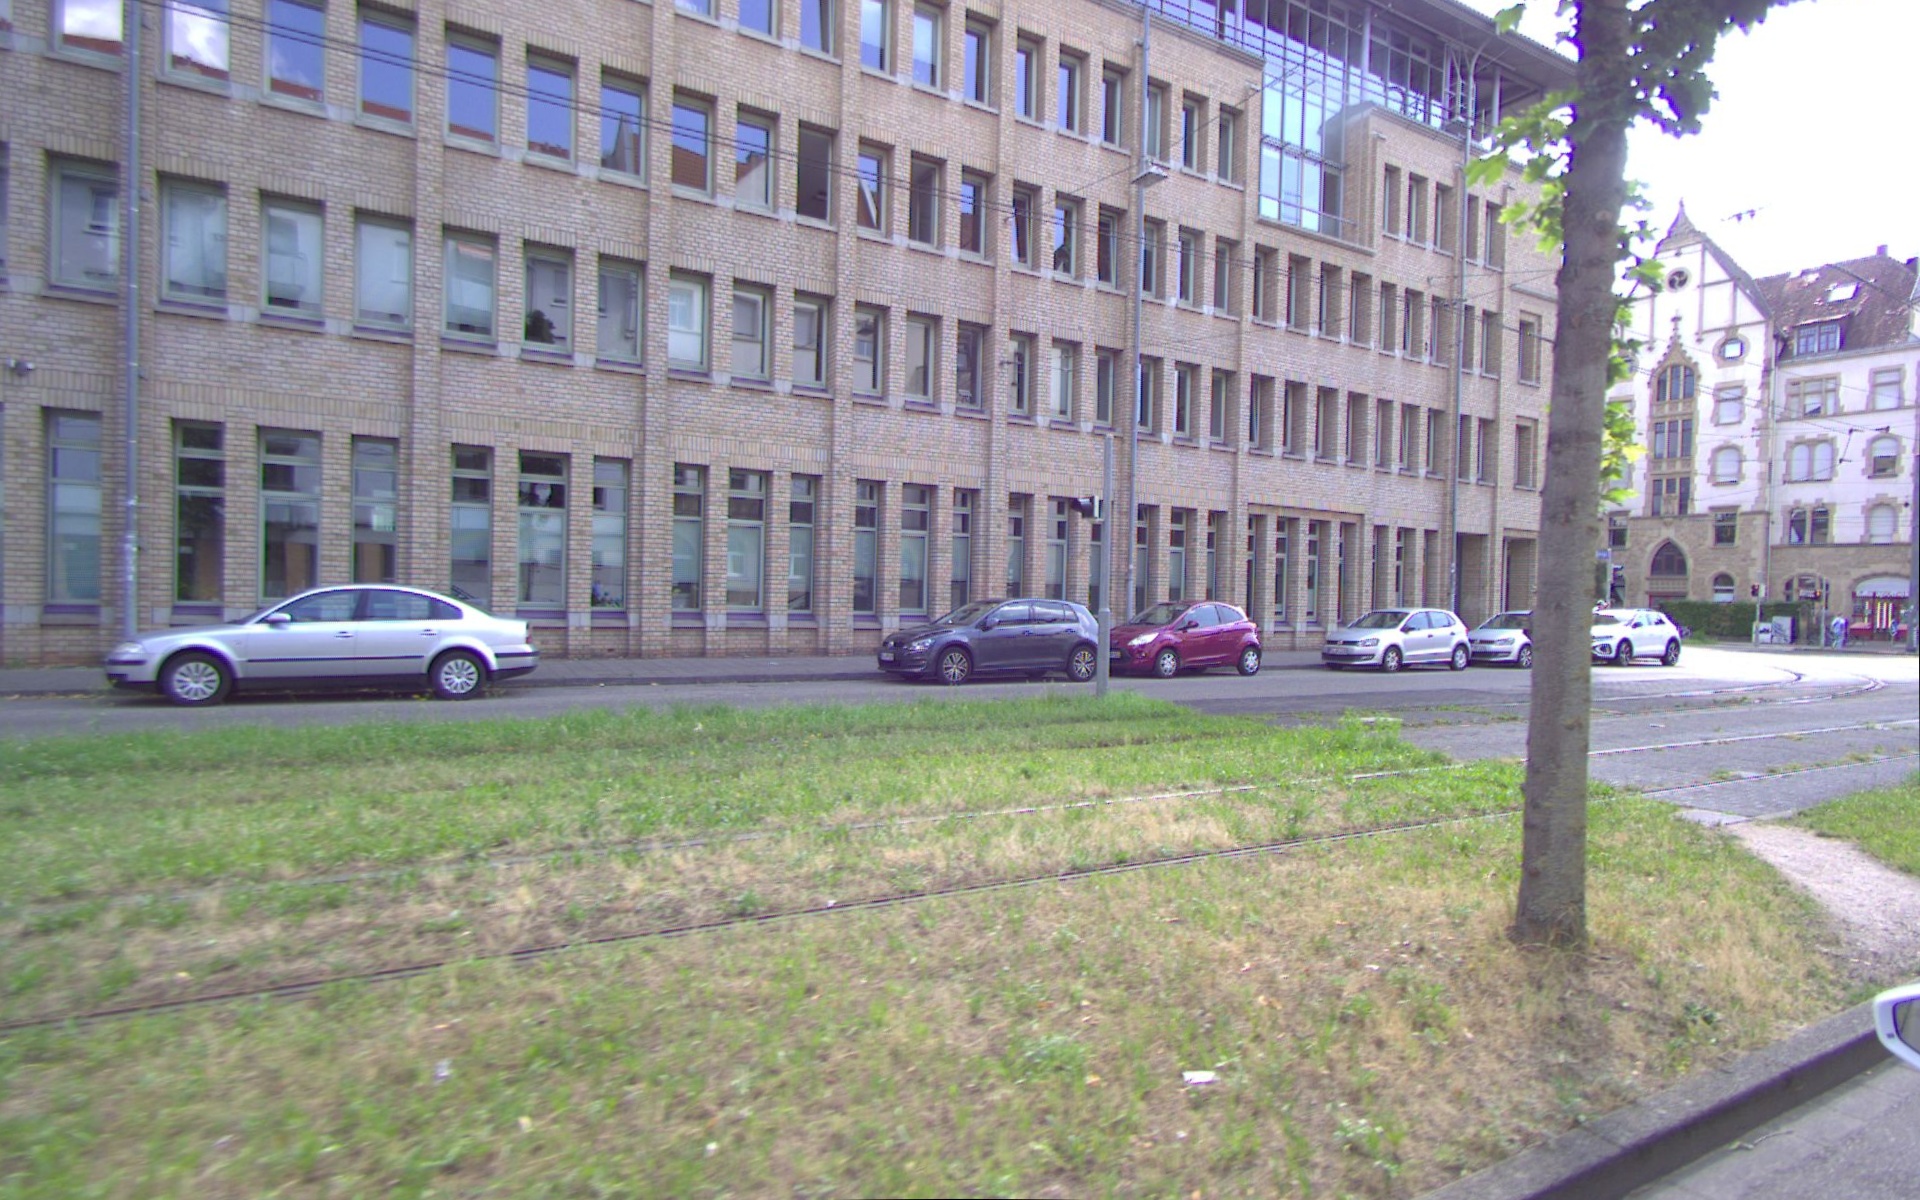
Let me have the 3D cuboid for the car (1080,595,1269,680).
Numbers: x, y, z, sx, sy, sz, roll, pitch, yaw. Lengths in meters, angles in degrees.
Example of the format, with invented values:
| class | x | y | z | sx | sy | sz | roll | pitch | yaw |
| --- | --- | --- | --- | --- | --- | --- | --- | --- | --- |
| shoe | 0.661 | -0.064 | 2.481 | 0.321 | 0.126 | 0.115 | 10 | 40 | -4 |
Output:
| class | x | y | z | sx | sy | sz | roll | pitch | yaw |
| --- | --- | --- | --- | --- | --- | --- | --- | --- | --- |
| car | 4.286 | 0.714 | 20.002 | 3.506 | 1.551 | 1.576 | 1 | 0 | -29 |

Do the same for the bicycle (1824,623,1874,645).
| class | x | y | z | sx | sy | sz | roll | pitch | yaw |
| --- | --- | --- | --- | --- | --- | --- | --- | --- | --- |
| bicycle | 47.992 | 1.825 | 54.232 | 0.772 | 1.095 | 1.900 | 1 | 0 | -39 |

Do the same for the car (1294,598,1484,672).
| class | x | y | z | sx | sy | sz | roll | pitch | yaw |
| --- | --- | --- | --- | --- | --- | --- | --- | --- | --- |
| car | 9.910 | 0.791 | 23.172 | 4.158 | 1.551 | 1.843 | 1 | 0 | -29 |

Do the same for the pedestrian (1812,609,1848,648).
| class | x | y | z | sx | sy | sz | roll | pitch | yaw |
| --- | --- | --- | --- | --- | --- | --- | --- | --- | --- |
| pedestrian | 40.776 | 1.336 | 47.080 | 1.003 | 1.745 | 0.776 | 2 | 1 | 17 |

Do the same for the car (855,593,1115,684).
| class | x | y | z | sx | sy | sz | roll | pitch | yaw |
| --- | --- | --- | --- | --- | --- | --- | --- | --- | --- |
| car | 0.456 | 0.647 | 17.692 | 4.187 | 1.415 | 1.925 | 1 | 0 | -29 |

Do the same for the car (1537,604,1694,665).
| class | x | y | z | sx | sy | sz | roll | pitch | yaw |
| --- | --- | --- | --- | --- | --- | --- | --- | --- | --- |
| car | 18.424 | 0.945 | 28.210 | 4.205 | 1.555 | 1.925 | 1 | 0 | -29 |

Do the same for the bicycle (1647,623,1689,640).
| class | x | y | z | sx | sy | sz | roll | pitch | yaw |
| --- | --- | --- | --- | --- | --- | --- | --- | --- | --- |
| bicycle | 40.180 | 1.784 | 56.995 | 0.466 | 0.859 | 1.900 | 1 | 0 | -39 |

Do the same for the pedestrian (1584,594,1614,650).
| class | x | y | z | sx | sy | sz | roll | pitch | yaw |
| --- | --- | --- | --- | --- | --- | --- | --- | --- | --- |
| pedestrian | 21.445 | 0.720 | 33.689 | 0.750 | 1.819 | 0.957 | 2 | 1 | 35 |

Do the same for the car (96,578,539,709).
| class | x | y | z | sx | sy | sz | roll | pitch | yaw |
| --- | --- | --- | --- | --- | --- | --- | --- | --- | --- |
| car | -7.793 | 0.497 | 12.685 | 4.429 | 1.415 | 1.708 | 1 | 0 | -29 |

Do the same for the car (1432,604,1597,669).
| class | x | y | z | sx | sy | sz | roll | pitch | yaw |
| --- | --- | --- | --- | --- | --- | --- | --- | --- | --- |
| car | 14.360 | 0.920 | 25.996 | 3.965 | 1.551 | 1.925 | 1 | 0 | -29 |
